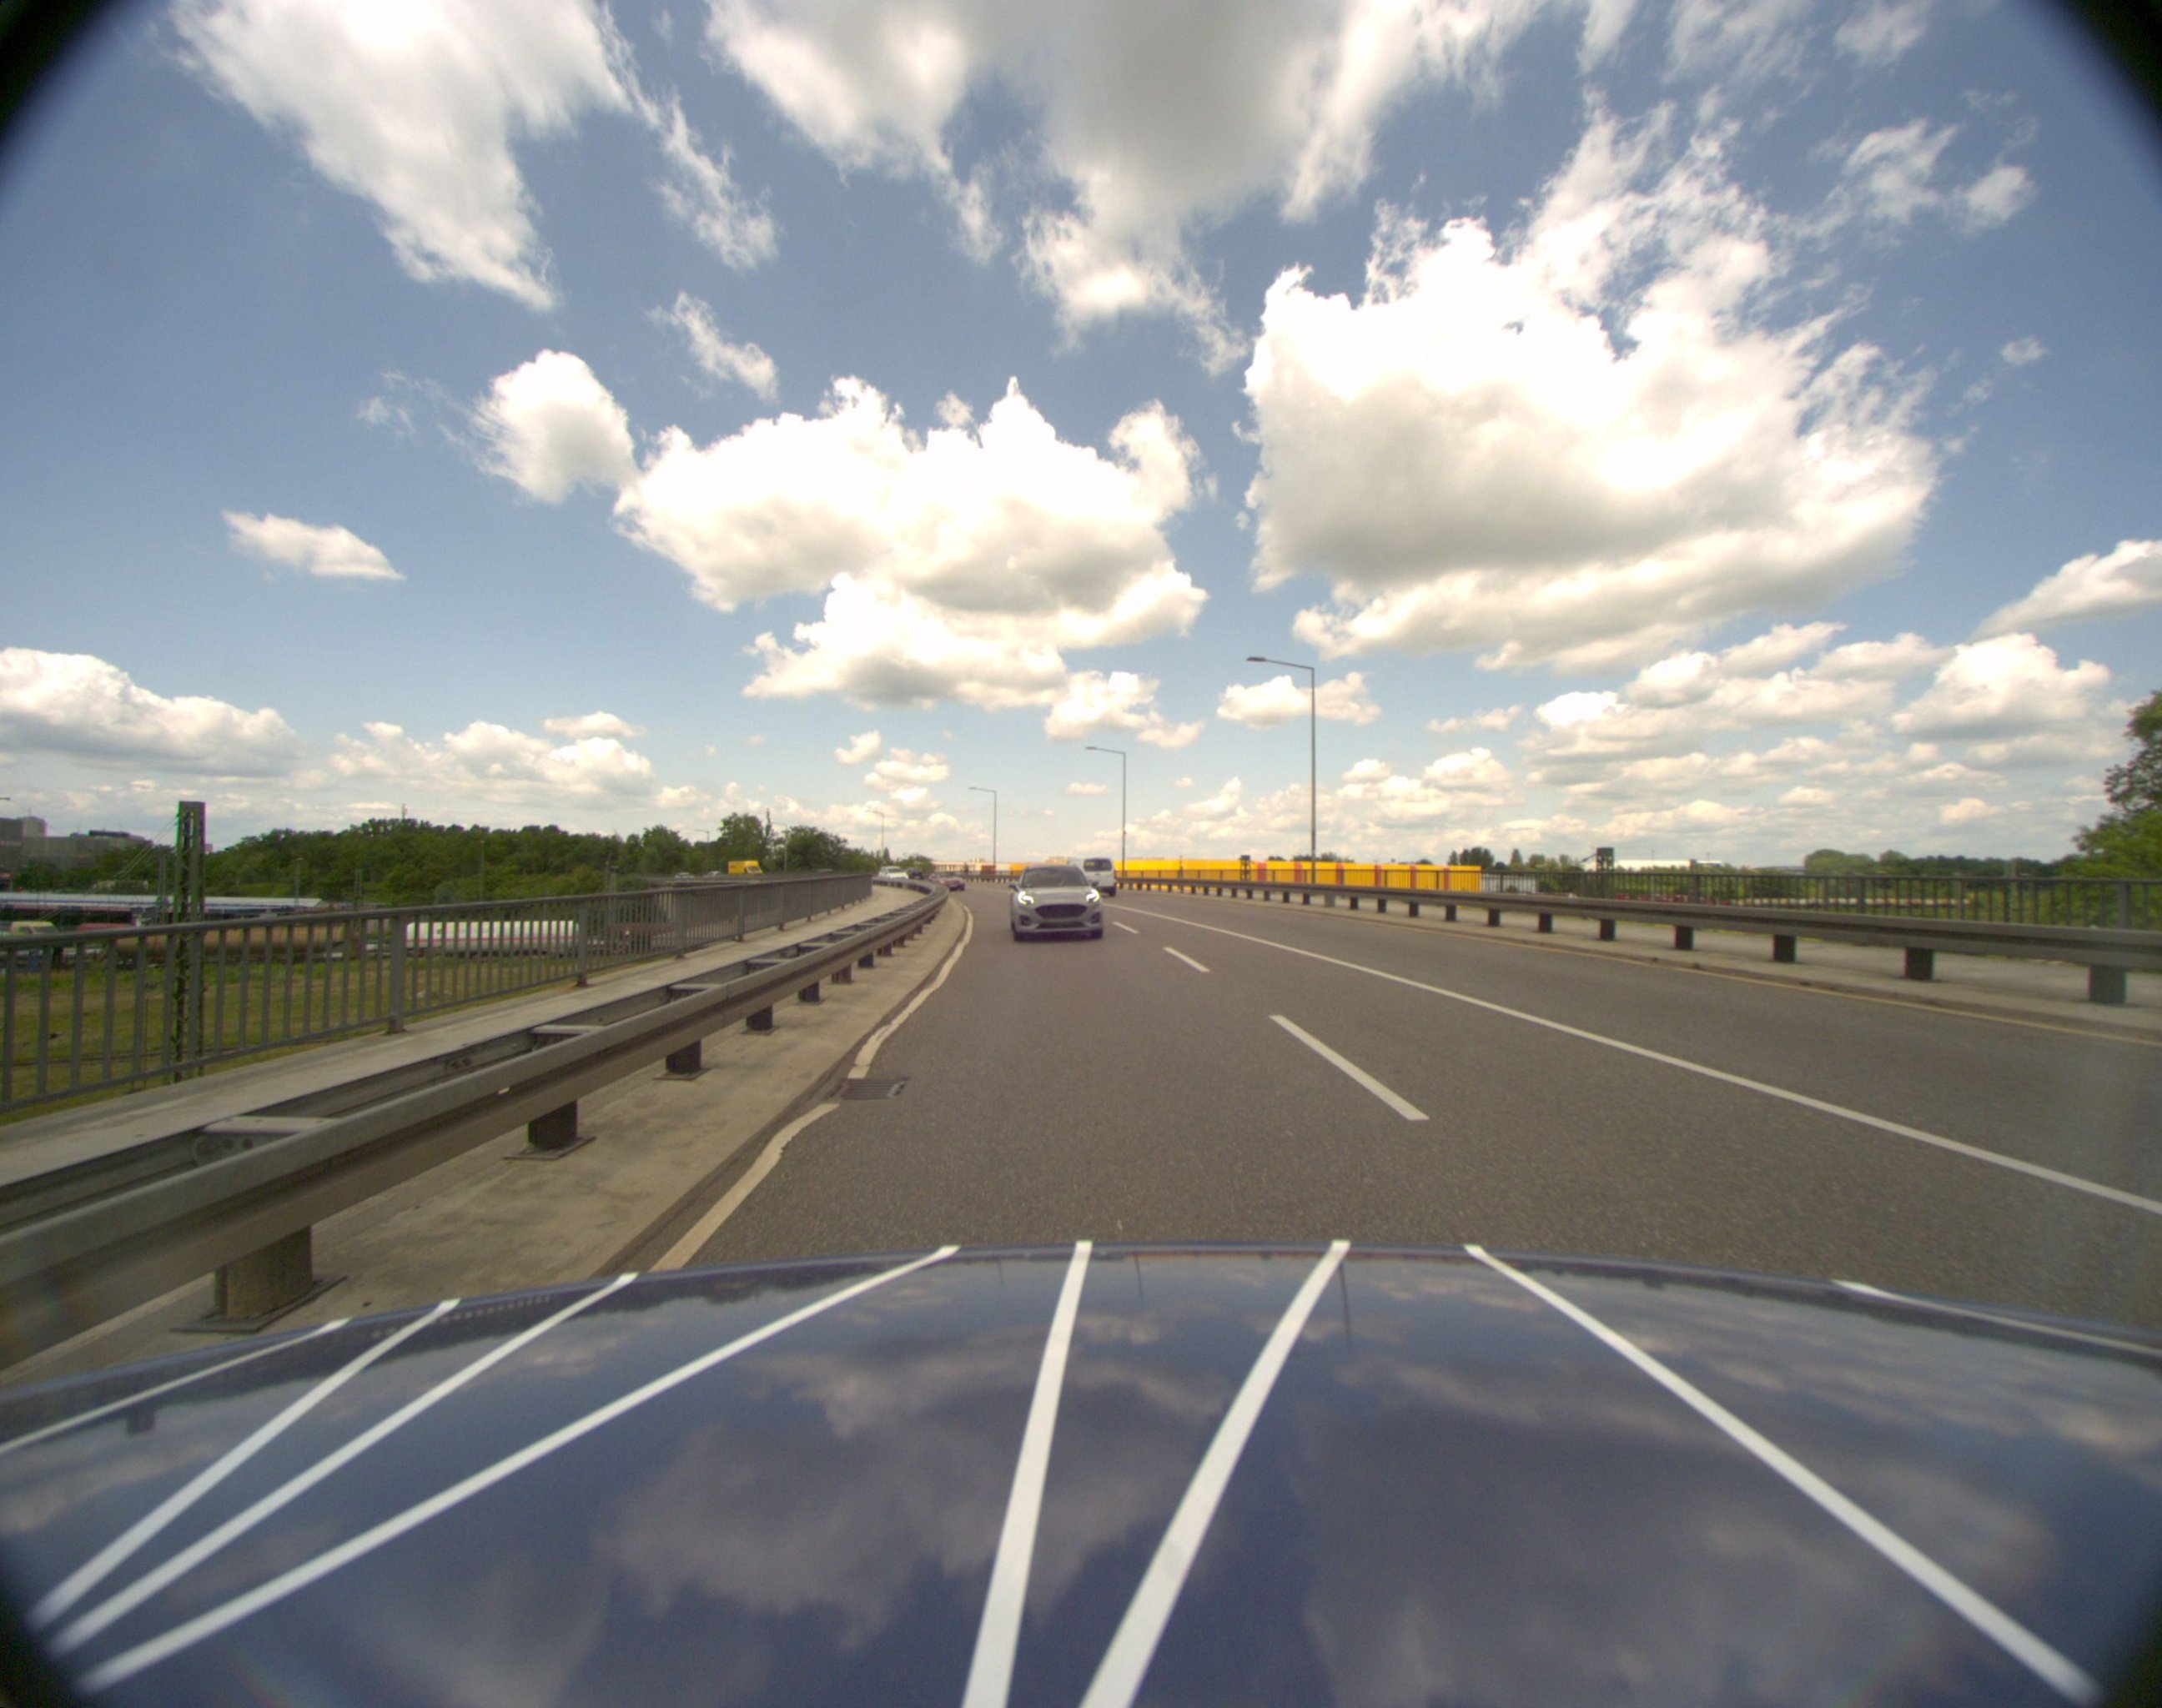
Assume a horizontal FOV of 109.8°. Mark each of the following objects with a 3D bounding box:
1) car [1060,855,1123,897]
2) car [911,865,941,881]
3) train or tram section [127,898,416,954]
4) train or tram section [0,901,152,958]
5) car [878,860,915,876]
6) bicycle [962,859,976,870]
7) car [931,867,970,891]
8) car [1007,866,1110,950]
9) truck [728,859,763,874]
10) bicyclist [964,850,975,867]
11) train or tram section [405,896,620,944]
[{"bbox_3d":[0.403,0.951,34.710,1.820,1.743,4.301,-2,0,-13],"label":"car"},{"bbox_3d":[-14.987,1.872,73.413,1.823,1.443,3.918,-2,0,-27],"label":"car"},{"bbox_3d":[-71.982,6.297,68.591,17.724,4.129,3.204,1,2,-28],"label":"train or tram section"},{"bbox_3d":[-87.628,6.085,60.276,17.725,4.129,3.204,1,2,-28],"label":"train or tram section"},{"bbox_3d":[-16.186,1.219,66.531,1.962,1.330,3.991,-3,1,-31],"label":"car"},{"bbox_3d":[-10.948,1.023,74.344,0.772,1.088,2.111,-1,0,-24],"label":"bicycle"},{"bbox_3d":[-8.335,1.552,48.293,1.830,1.330,3.994,-2,0,-18],"label":"car"},{"bbox_3d":[-0.613,1.051,16.446,1.829,1.515,3.998,-2,0,-7],"label":"car"},{"bbox_3d":[-46.241,1.697,104.644,6.127,2.001,2.005,0,-1,42],"label":"truck"},{"bbox_3d":[-10.911,0.433,74.248,0.770,1.593,0.945,-1,0,-25],"label":"bicyclist"},{"bbox_3d":[-56.265,6.492,76.117,16.986,4.129,3.211,1,2,-23],"label":"train or tram section"}]
